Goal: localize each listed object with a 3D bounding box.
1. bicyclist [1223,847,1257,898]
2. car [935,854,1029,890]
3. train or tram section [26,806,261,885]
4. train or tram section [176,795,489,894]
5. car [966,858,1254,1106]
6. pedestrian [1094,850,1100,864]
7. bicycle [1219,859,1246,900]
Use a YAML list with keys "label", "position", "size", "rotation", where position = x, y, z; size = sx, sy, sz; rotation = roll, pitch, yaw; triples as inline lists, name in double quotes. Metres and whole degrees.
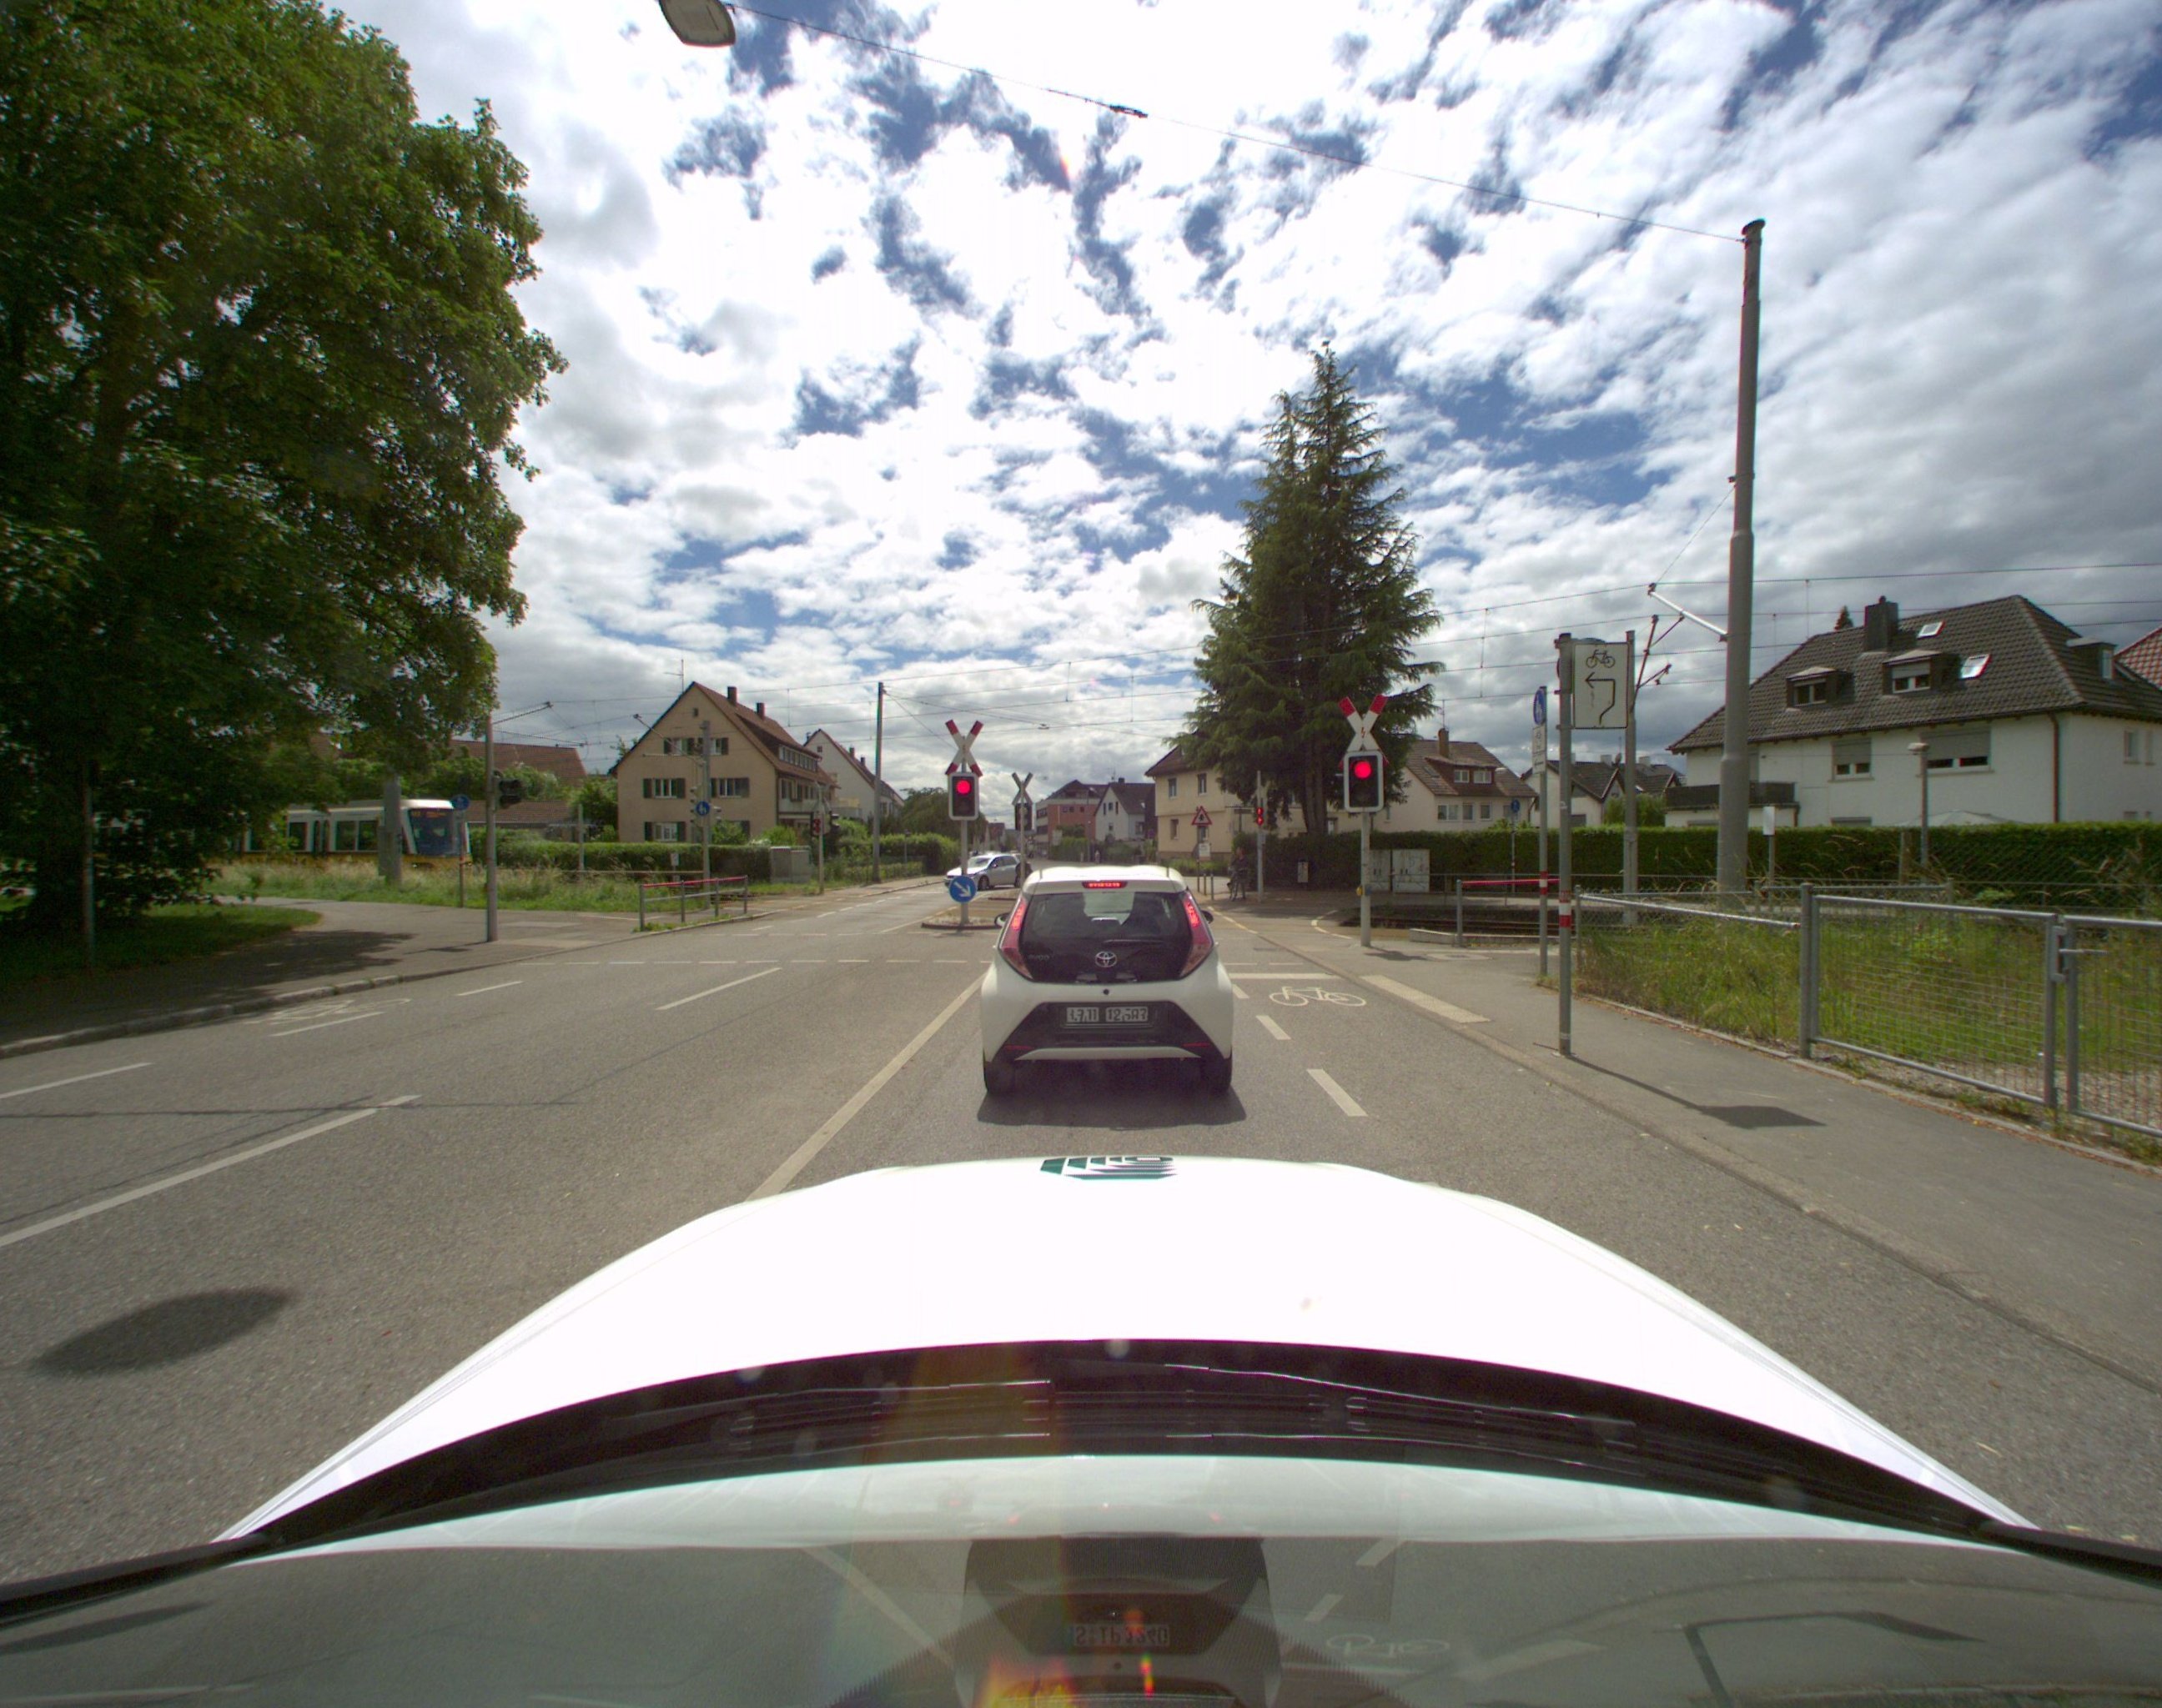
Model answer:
- label: "bicyclist"
  position: [5.093, 0.585, 26.149]
  size: [0.839, 1.553, 0.755]
  rotation: [-3, 2, -4]
- label: "car"
  position: [-4.137, 0.738, 34.781]
  size: [1.887, 1.441, 4.124]
  rotation: [0, 0, 30]
- label: "train or tram section"
  position: [-50.569, -0.438, 43.611]
  size: [18.885, 3.704, 2.936]
  rotation: [0, 1, 24]
- label: "train or tram section"
  position: [-33.388, -0.390, 35.804]
  size: [18.885, 3.704, 2.936]
  rotation: [0, 1, 24]
- label: "car"
  position: [0.133, 0.767, 6.730]
  size: [1.716, 1.442, 3.706]
  rotation: [0, 0, -2]
- label: "pedestrian"
  position: [1.815, 0.294, 93.226]
  size: [0.723, 1.576, 0.804]
  rotation: [0, 0, 2]
- label: "bicycle"
  position: [4.856, 0.794, 26.170]
  size: [0.456, 1.172, 1.477]
  rotation: [-3, 2, -4]
